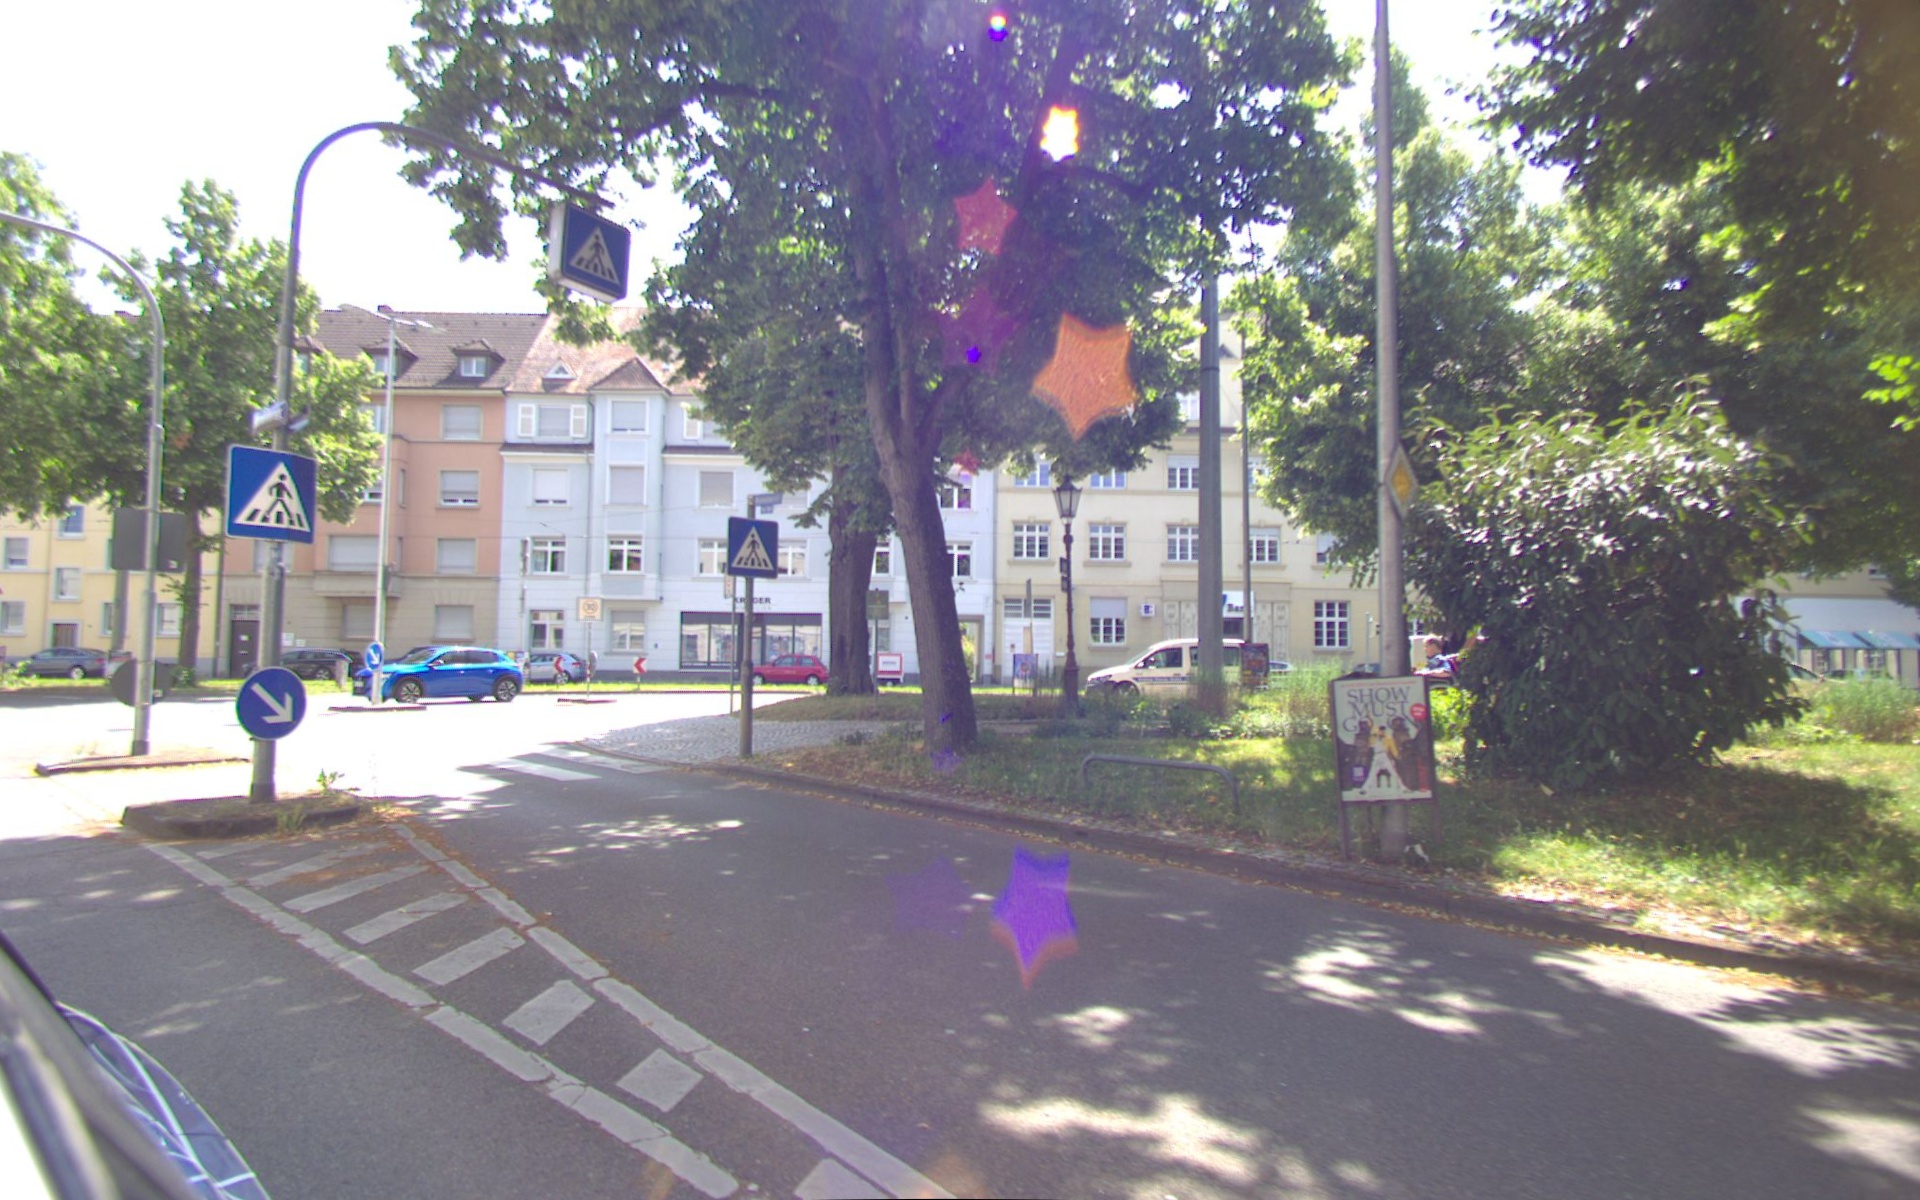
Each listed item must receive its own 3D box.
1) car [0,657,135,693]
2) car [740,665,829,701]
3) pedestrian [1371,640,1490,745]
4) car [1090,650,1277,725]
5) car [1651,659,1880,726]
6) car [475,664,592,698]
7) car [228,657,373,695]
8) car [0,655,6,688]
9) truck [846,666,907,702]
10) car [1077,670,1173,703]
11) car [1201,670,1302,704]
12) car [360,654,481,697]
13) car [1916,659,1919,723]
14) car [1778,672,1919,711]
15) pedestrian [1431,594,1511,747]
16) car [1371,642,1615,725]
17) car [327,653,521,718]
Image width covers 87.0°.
[{"bbox_3d":[-37.997,3.153,42.642,4.794,1.409,1.933,0,-6,0],"label":"car"},{"bbox_3d":[-7.466,3.584,43.317,3.573,1.462,1.576,1,-6,-1],"label":"car"},{"bbox_3d":[5.881,1.161,12.739,1.137,1.262,0.904,-2,-5,14],"label":"pedestrian"},{"bbox_3d":[5.707,2.259,26.289,4.358,1.840,2.000,1,-4,-2],"label":"car"},{"bbox_3d":[20.882,2.386,26.380,4.422,1.636,1.788,0,-4,0],"label":"car"},{"bbox_3d":[-18.147,3.455,43.178,4.189,1.367,1.813,1,-6,-1],"label":"car"},{"bbox_3d":[-27.828,3.247,42.811,4.793,1.502,1.934,1,-6,-1],"label":"car"},{"bbox_3d":[-43.252,2.959,42.733,4.083,1.411,1.837,1,-6,-1],"label":"car"},{"bbox_3d":[-3.575,3.647,43.648,2.556,1.506,1.130,1,-6,-2],"label":"truck"},{"bbox_3d":[7.084,3.755,43.673,3.802,1.371,1.692,1,-6,-1],"label":"car"},{"bbox_3d":[12.576,3.769,43.804,3.802,1.401,1.692,1,-6,-1],"label":"car"},{"bbox_3d":[-22.819,3.218,42.936,4.083,1.699,1.842,1,-6,-1],"label":"car"},{"bbox_3d":[27.855,2.404,26.336,4.141,1.706,1.788,0,-4,0],"label":"car"},{"bbox_3d":[37.039,3.875,42.288,1.973,1.516,4.221,1,-6,-5],"label":"car"},{"bbox_3d":[6.652,0.927,13.213,0.677,1.926,0.747,-2,-5,14],"label":"pedestrian"},{"bbox_3d":[13.732,2.166,26.326,5.175,2.018,2.055,0,-4,0],"label":"car"},{"bbox_3d":[-13.550,2.170,25.801,1.811,1.503,3.952,-3,-6,35],"label":"car"}]
